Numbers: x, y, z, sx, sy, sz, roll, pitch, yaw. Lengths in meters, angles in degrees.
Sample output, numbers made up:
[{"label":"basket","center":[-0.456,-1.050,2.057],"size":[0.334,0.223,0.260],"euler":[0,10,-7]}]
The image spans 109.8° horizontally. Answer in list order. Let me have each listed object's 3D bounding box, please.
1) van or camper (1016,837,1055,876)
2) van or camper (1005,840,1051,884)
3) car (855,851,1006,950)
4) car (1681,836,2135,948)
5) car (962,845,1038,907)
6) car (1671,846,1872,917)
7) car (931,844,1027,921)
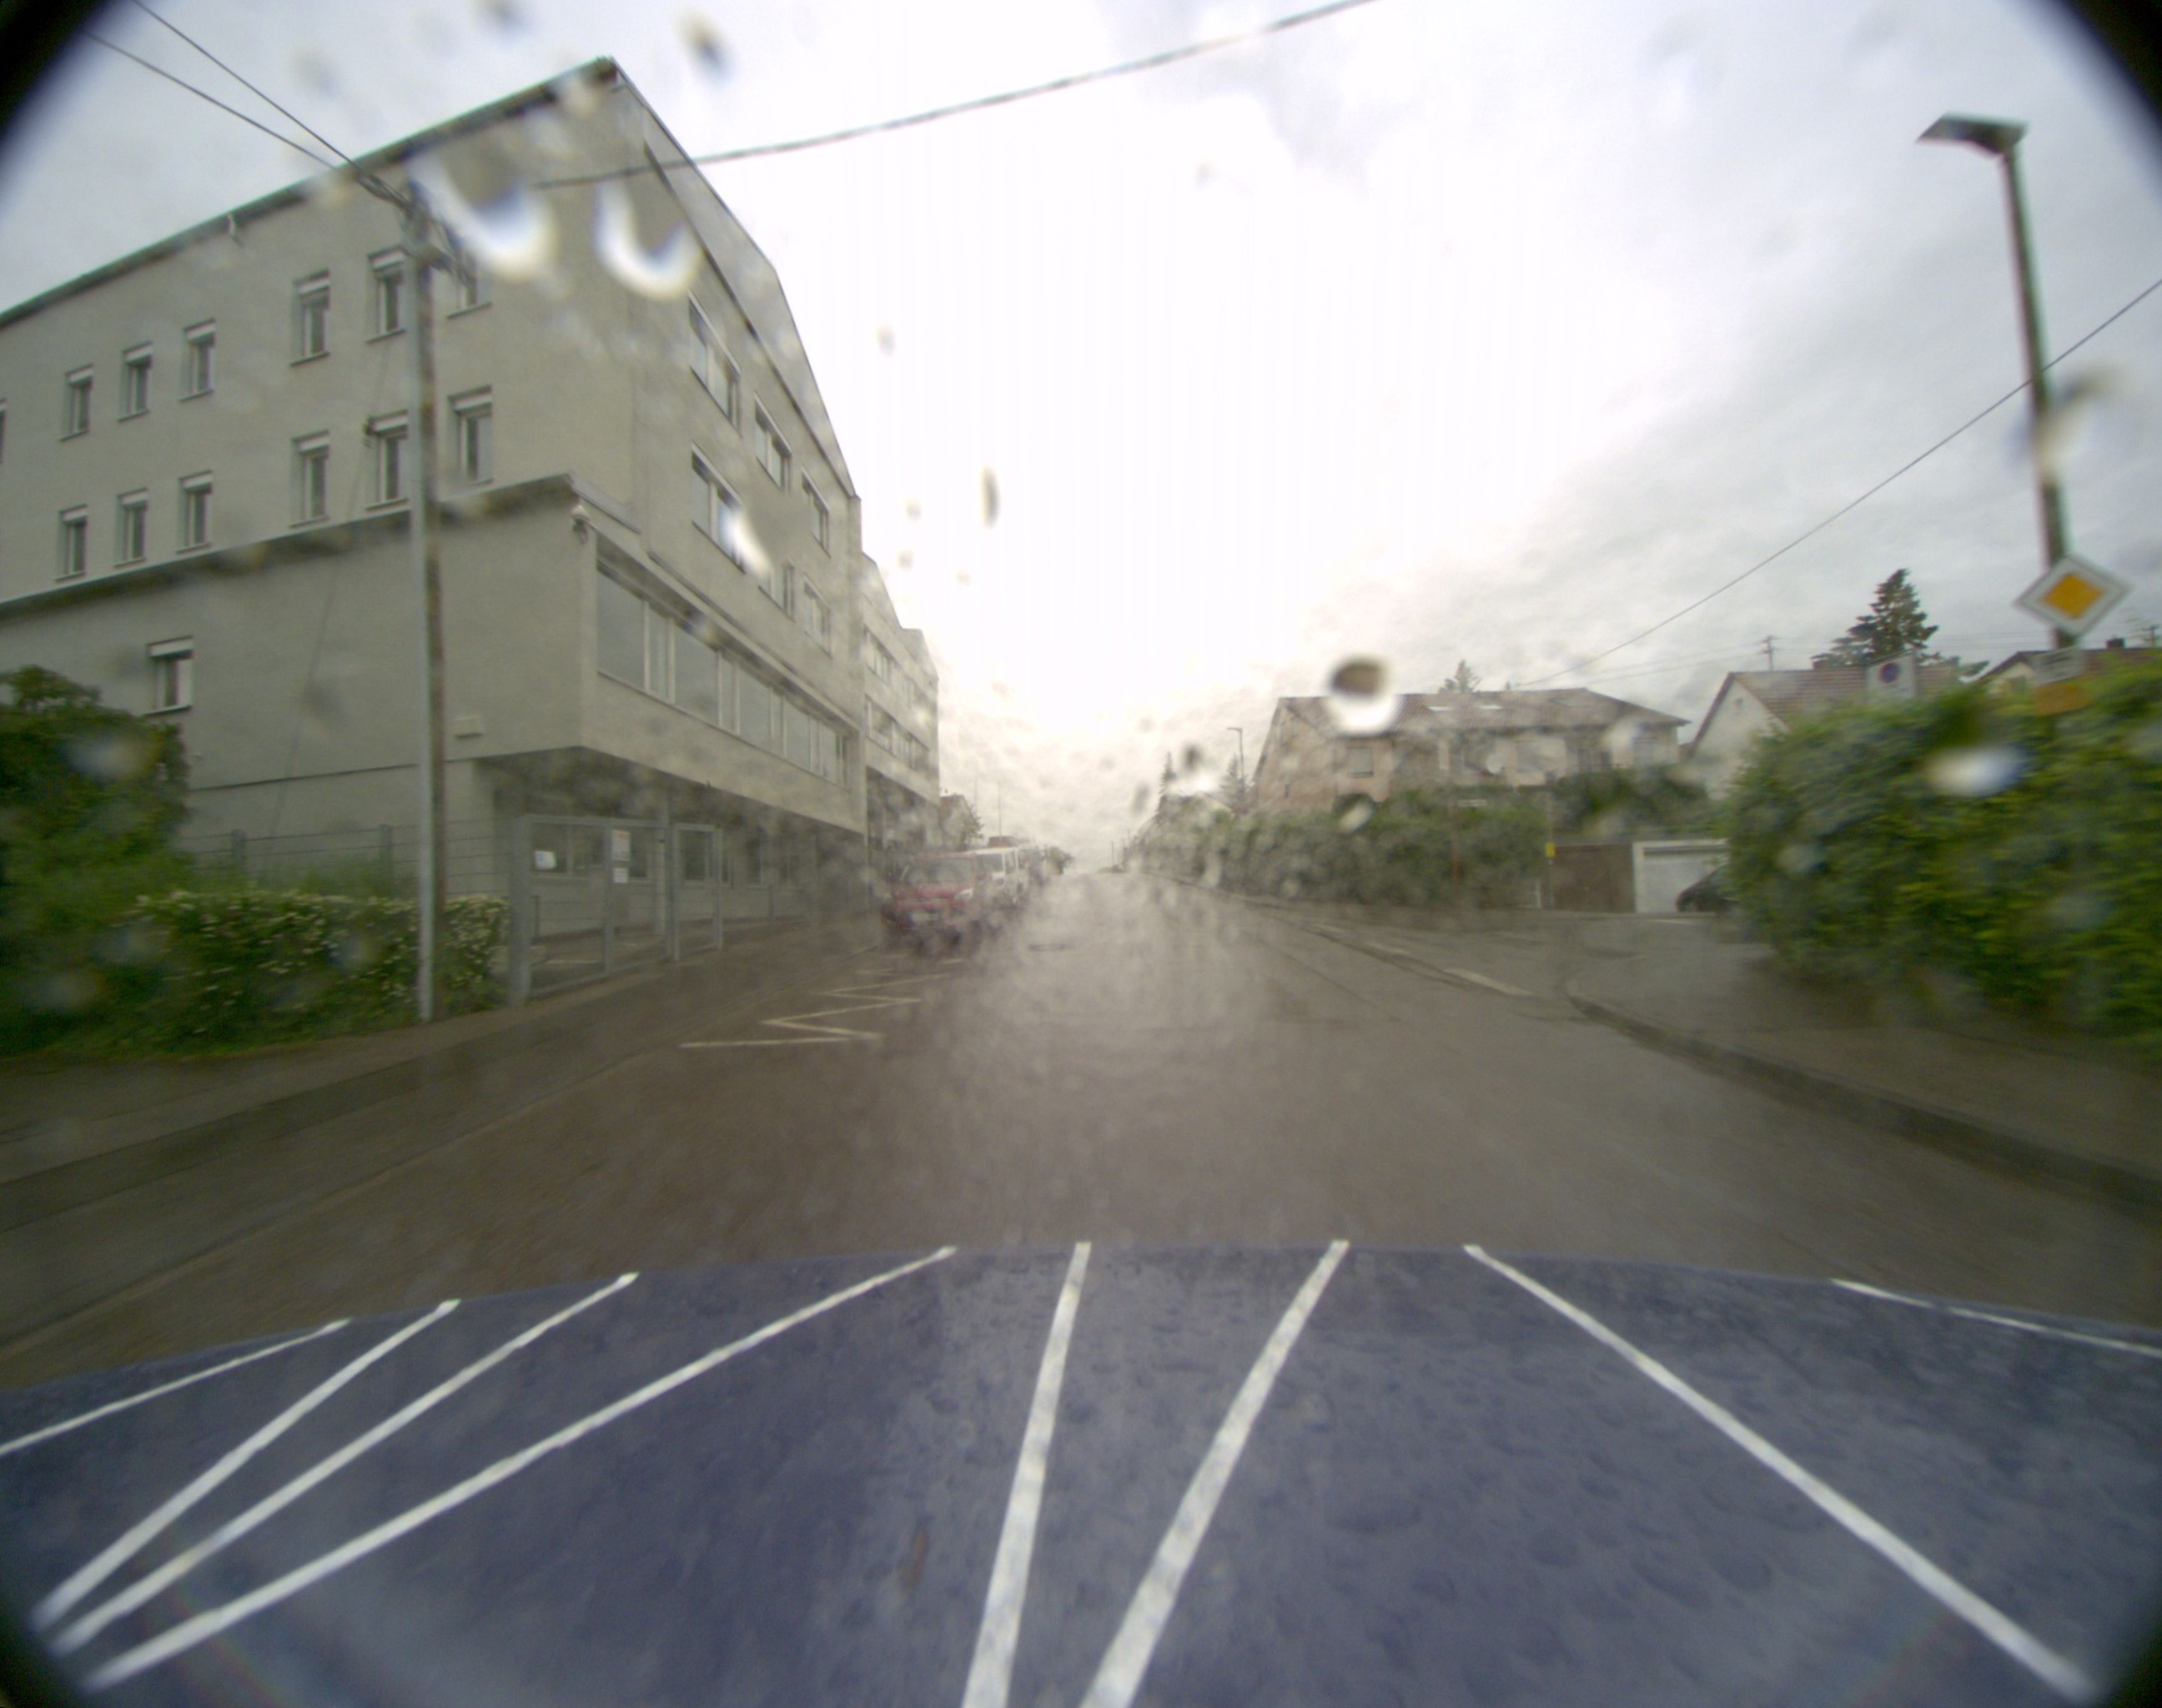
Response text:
[{"label":"van or camper","center":[-2.718,0.159,46.810],"size":[1.998,2.230,5.441],"euler":[-1,0,0]},{"label":"van or camper","center":[-2.697,0.386,39.932],"size":[1.998,2.101,5.202],"euler":[-1,0,0]},{"label":"car","center":[-2.859,0.799,15.695],"size":[1.998,1.635,4.958],"euler":[-2,0,1]},{"label":"car","center":[11.900,0.508,11.198],"size":[4.593,1.390,1.894],"euler":[-2,0,1]},{"label":"car","center":[-2.759,0.679,26.919],"size":[1.998,1.924,4.975],"euler":[-2,0,1]},{"label":"car","center":[17.244,0.776,19.224],"size":[1.722,1.446,3.449],"euler":[0,-8,-3]},{"label":"car","center":[-2.676,0.680,20.921],"size":[1.883,1.823,4.488],"euler":[-2,0,1]}]
